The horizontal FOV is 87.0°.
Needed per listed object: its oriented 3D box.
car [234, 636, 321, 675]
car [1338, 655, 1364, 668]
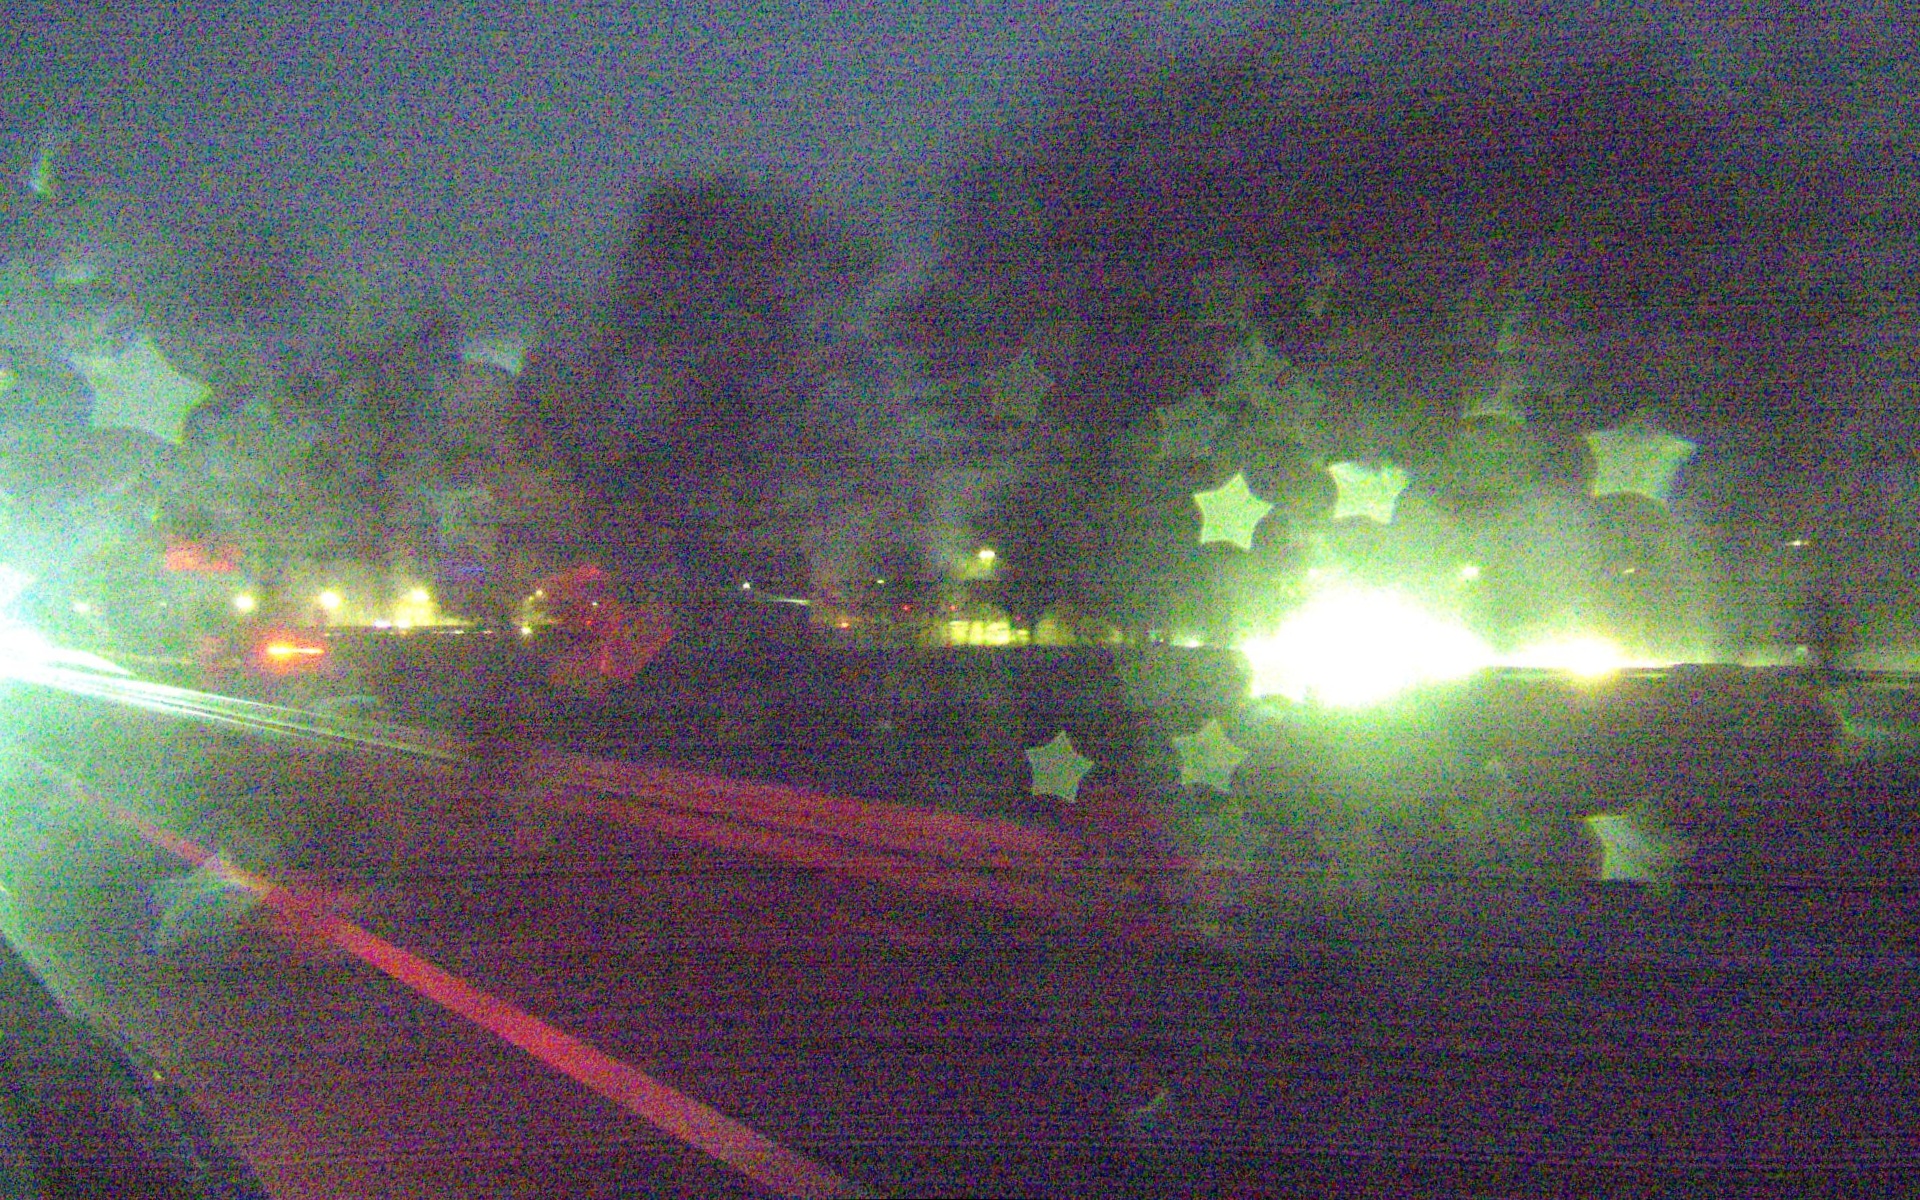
[{"bbox_3d":[-30.602,2.470,45.368,3.986,1.652,1.741,-2,-2,31],"label":"car"},{"bbox_3d":[51.806,8.147,134.130,1.896,1.608,3.999,1,-2,0],"label":"car"}]
